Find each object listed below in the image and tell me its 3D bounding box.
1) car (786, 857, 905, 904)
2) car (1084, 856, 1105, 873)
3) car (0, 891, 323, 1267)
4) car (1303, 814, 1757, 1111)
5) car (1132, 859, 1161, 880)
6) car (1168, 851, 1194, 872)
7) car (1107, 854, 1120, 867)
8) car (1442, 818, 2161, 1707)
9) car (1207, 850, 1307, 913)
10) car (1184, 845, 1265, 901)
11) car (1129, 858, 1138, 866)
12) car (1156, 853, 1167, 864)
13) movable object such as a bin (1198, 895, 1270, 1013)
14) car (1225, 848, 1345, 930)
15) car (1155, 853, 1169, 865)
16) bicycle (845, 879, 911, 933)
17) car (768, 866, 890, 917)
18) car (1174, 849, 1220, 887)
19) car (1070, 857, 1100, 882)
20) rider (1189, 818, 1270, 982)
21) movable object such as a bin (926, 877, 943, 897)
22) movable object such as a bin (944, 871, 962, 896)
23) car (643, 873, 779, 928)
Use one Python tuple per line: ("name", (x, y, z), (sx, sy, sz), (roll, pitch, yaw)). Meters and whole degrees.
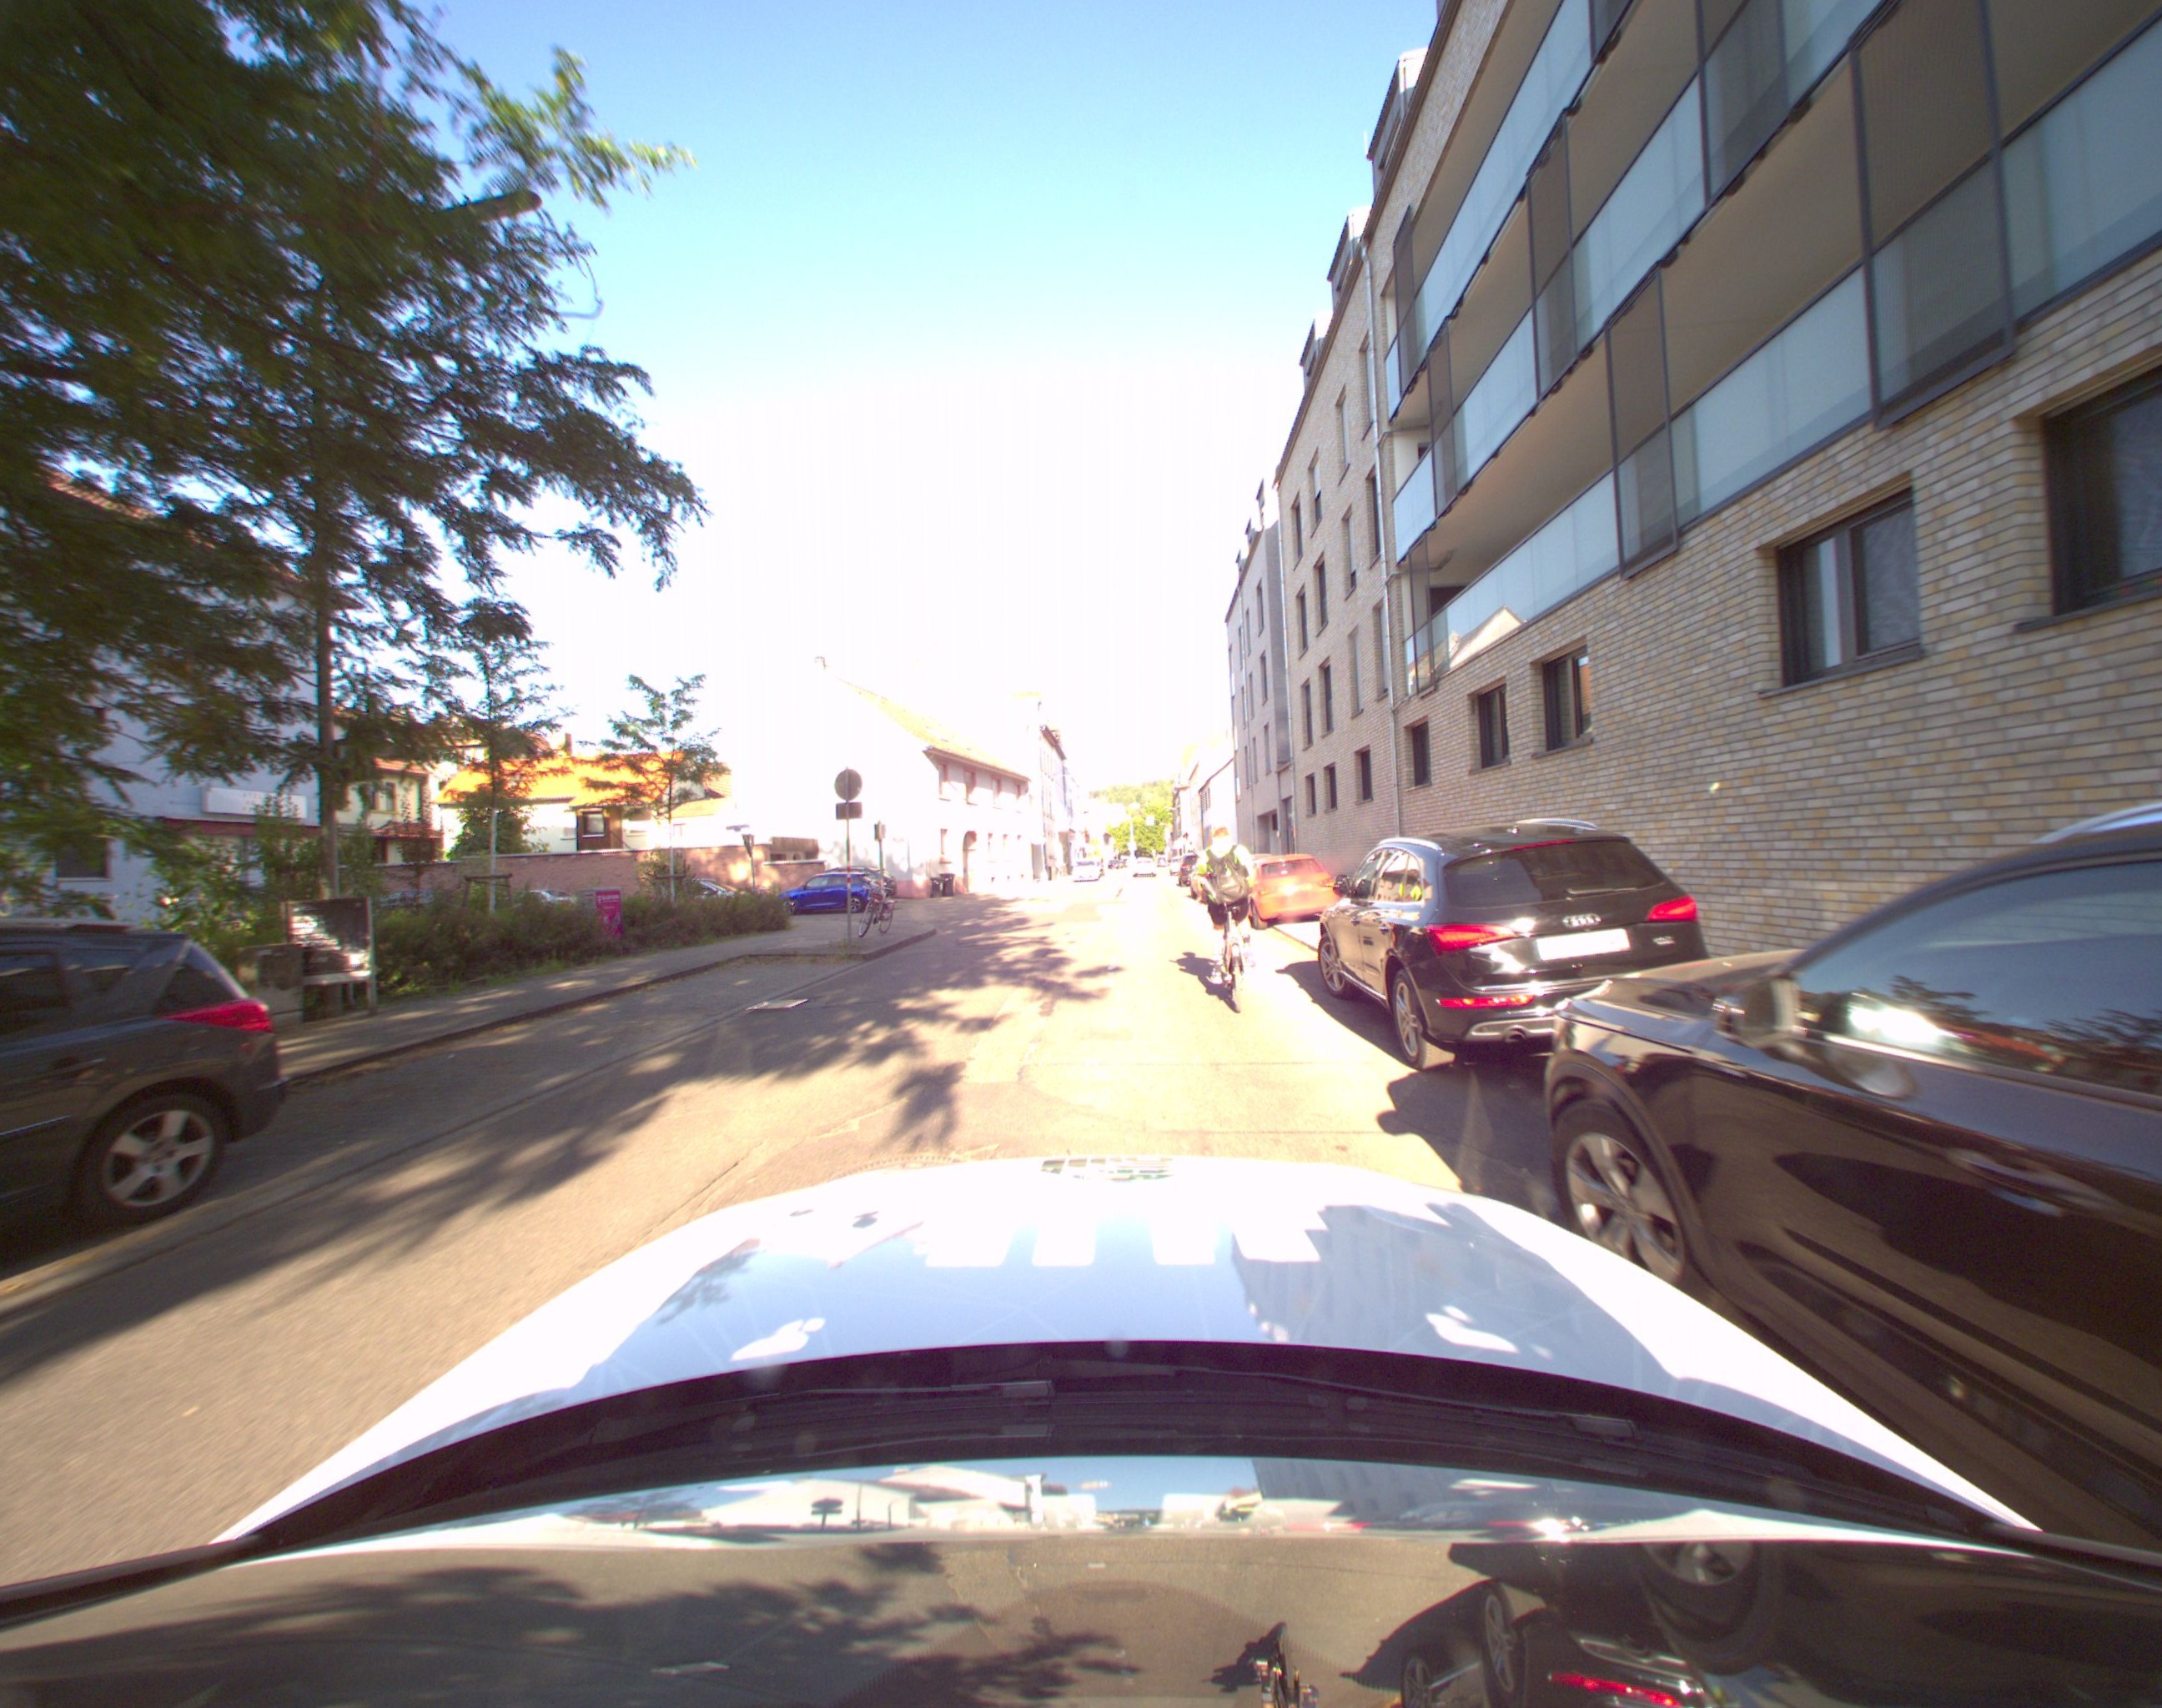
("car", (-9.773, 1.076, 34.009), (4.342, 1.794, 1.991), (0, 2, 5))
("car", (1.273, 0.969, 74.964), (1.723, 1.499, 3.962), (-3, -1, 3))
("car", (-5.334, 0.977, 2.743), (1.690, 1.492, 4.002), (-2, 0, 2))
("car", (3.292, 0.638, 7.229), (1.879, 1.712, 4.784), (-3, 0, 8))
("car", (5.030, 1.162, 63.058), (1.986, 1.466, 4.002), (-3, -1, 2))
("car", (7.848, 0.570, 64.117), (1.733, 1.492, 4.445), (-5, 0, 5))
("car", (5.428, 1.004, 134.819), (1.986, 2.013, 4.003), (-3, 0, 2))
("car", (2.388, 0.667, 1.272), (1.809, 1.466, 4.272), (-3, -1, 2))
("car", (4.784, 0.688, 22.773), (1.985, 1.505, 4.370), (-3, 0, 3))
("car", (4.787, 0.577, 27.894), (1.986, 1.653, 4.764), (-3, 0, 1))
("car", (12.071, 1.789, 186.513), (1.801, 1.701, 4.192), (-5, 0, 0))
("car", (13.872, 0.758, 140.104), (1.809, 1.630, 4.008), (-4, 0, 7))
("movable object such as a bin", (1.527, 0.959, 8.346), (0.453, 1.033, 1.841), (0, -2, 2))
("car", (4.320, 0.690, 17.864), (1.705, 1.404, 4.077), (-7, 0, 3))
("car", (12.775, 0.773, 128.775), (2.002, 1.853, 4.003), (-2, 0, 3))
("bicycle", (-4.303, 1.087, 17.414), (0.700, 1.003, 1.945), (-2, 0, 7))
("car", (-9.295, 1.380, 30.263), (3.750, 1.530, 2.003), (-4, 0, 4))
("car", (5.738, 0.651, 40.786), (1.846, 1.636, 4.629), (-5, 0, 5))
("car", (0.349, 1.087, 58.429), (1.986, 1.648, 5.223), (-2, 0, 1))
("rider", (1.480, 0.448, 8.267), (0.651, 1.562, 1.083), (0, -2, 2))
("movable object such as a bin", (-6.585, 1.475, 36.601), (0.596, 0.872, 0.606), (-2, -1, 2))
("movable object such as a bin", (-5.883, 1.361, 37.395), (0.596, 1.094, 0.752), (-2, -1, 4))
("car", (-13.755, 1.704, 30.442), (3.969, 1.500, 2.003), (-6, 1, 4))
